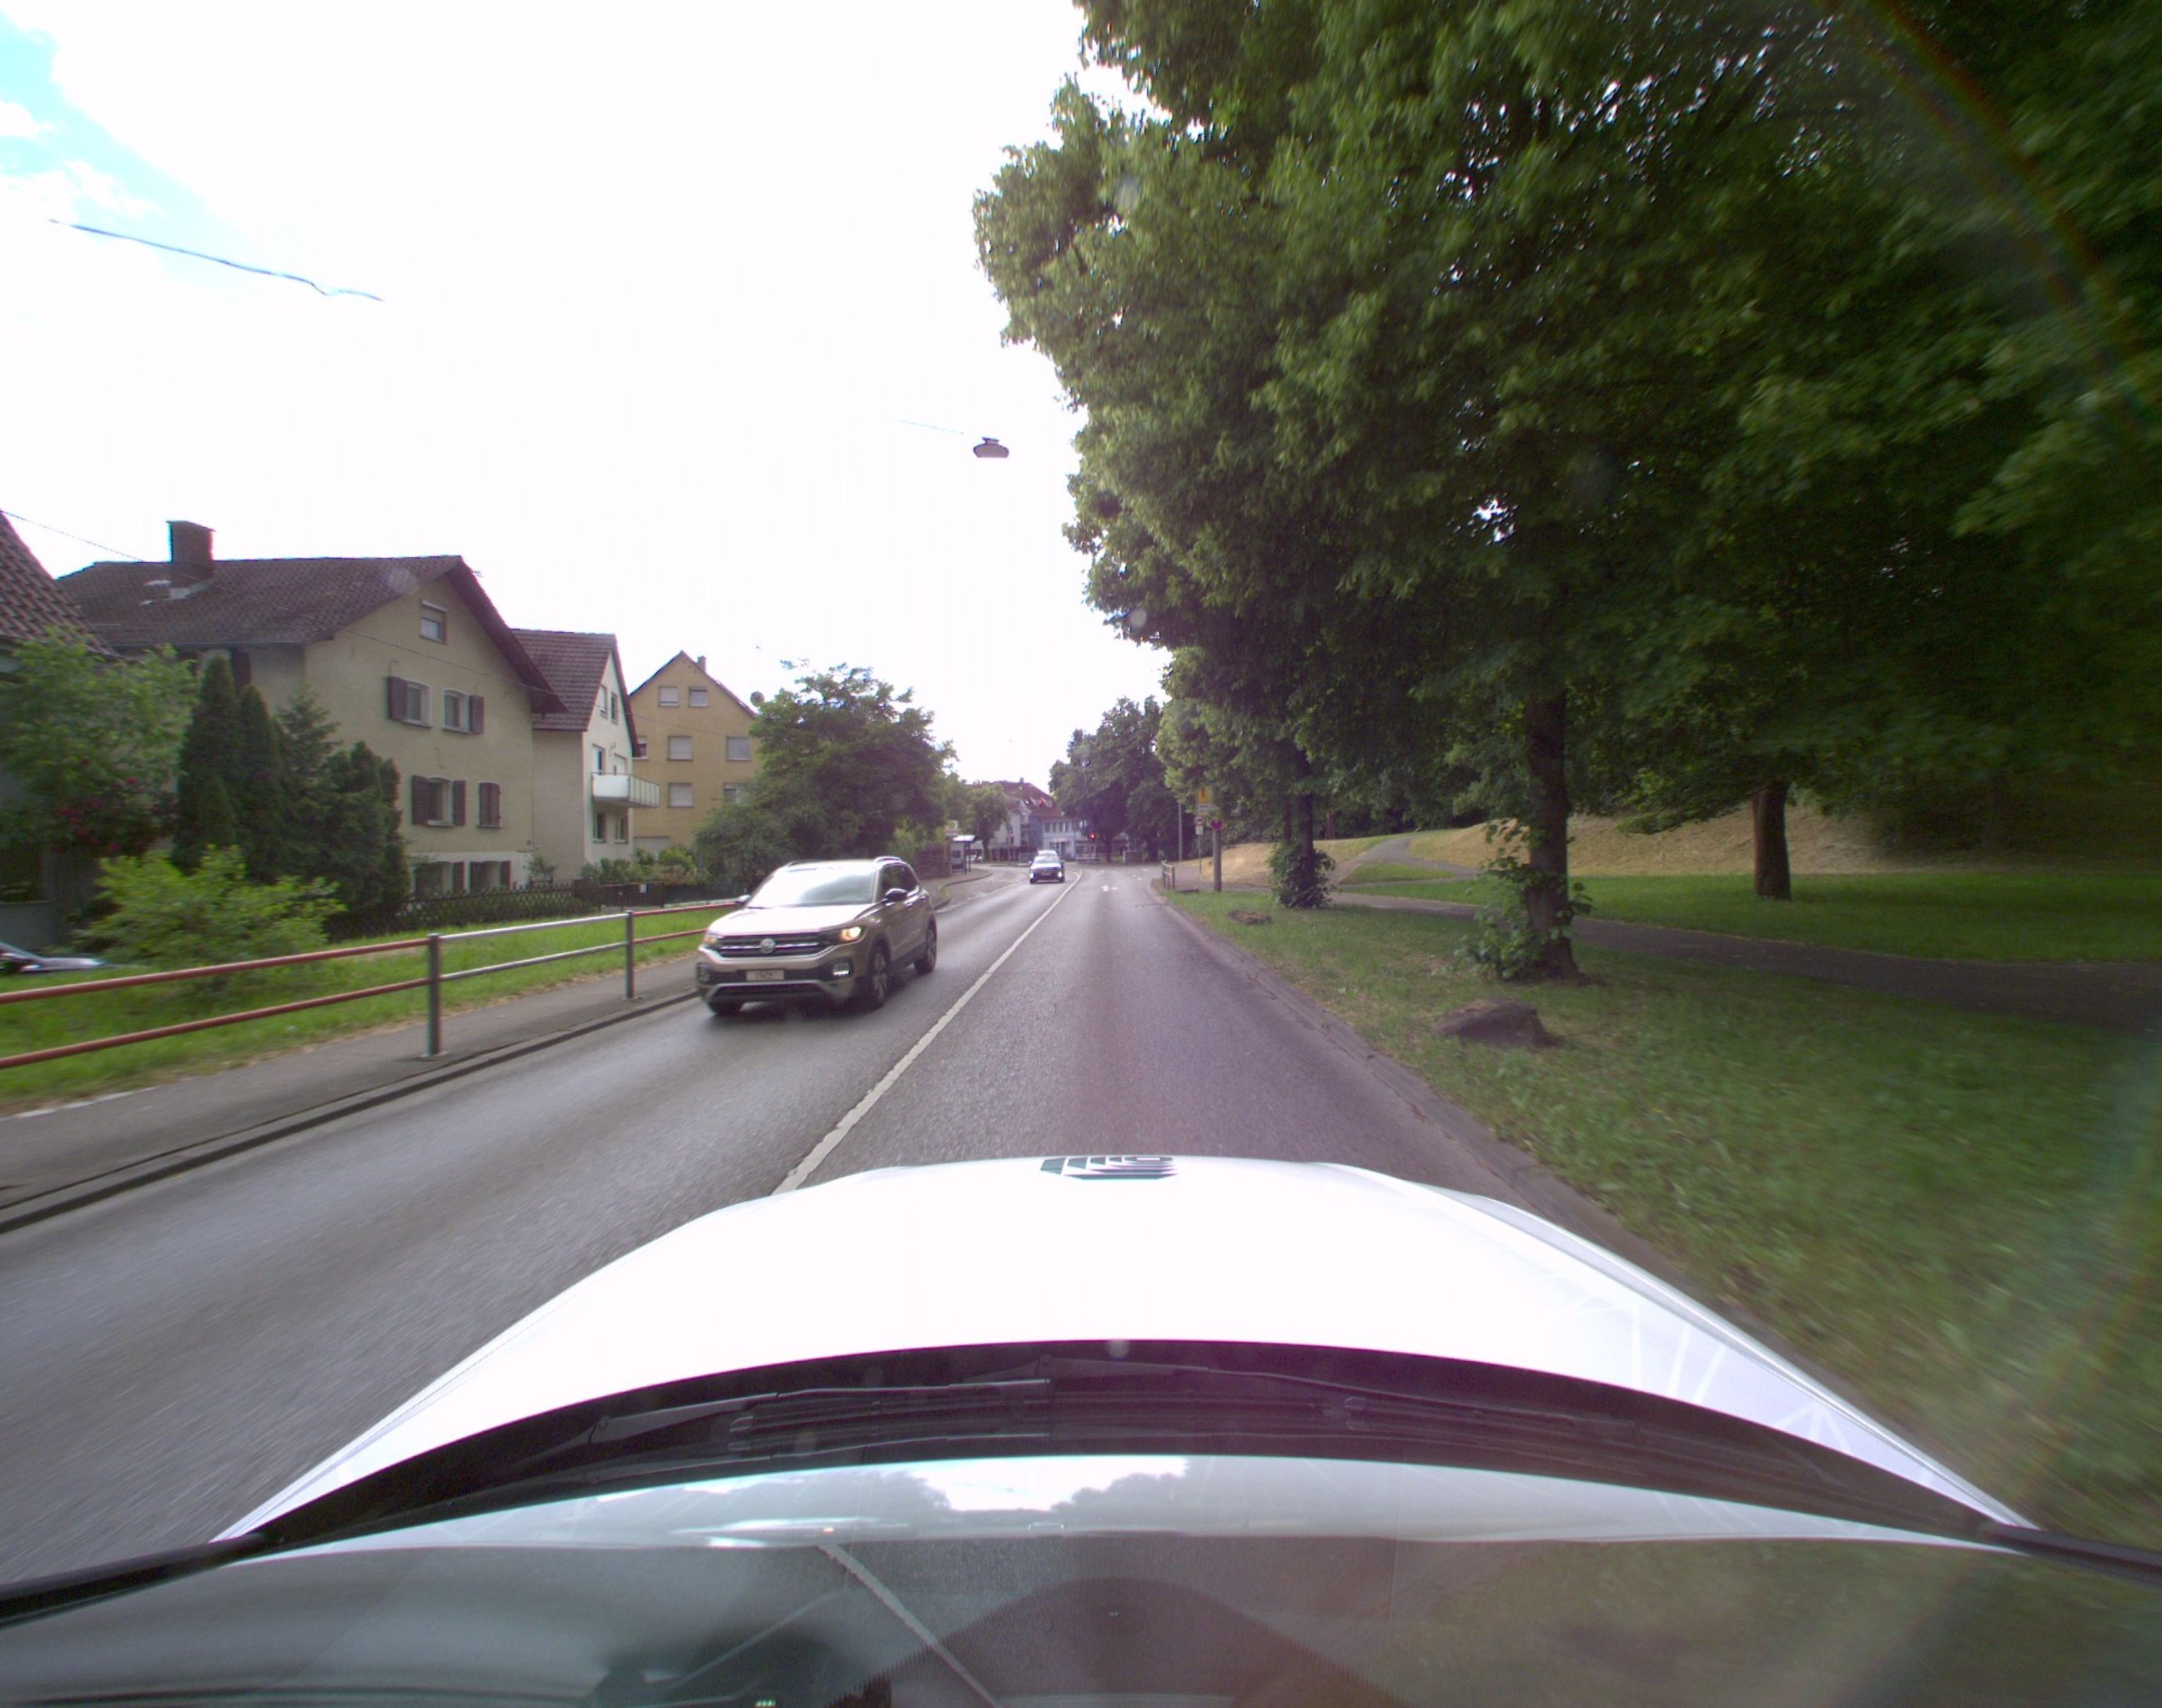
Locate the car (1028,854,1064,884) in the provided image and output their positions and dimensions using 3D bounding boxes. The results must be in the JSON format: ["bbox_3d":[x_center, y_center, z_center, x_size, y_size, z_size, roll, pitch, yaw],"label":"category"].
[{"bbox_3d":[-1.871,0.800,44.465,1.710,1.468,4.099,-2,0,0],"label":"car"}]

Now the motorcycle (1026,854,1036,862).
[{"bbox_3d":[-8.293,0.677,134.868,1.484,1.106,0.563,-3,5,14],"label":"motorcycle"}]

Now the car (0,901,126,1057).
[{"bbox_3d":[-13.229,1.476,8.348,1.910,1.695,4.008,-2,0,7],"label":"car"}]

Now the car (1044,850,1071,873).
[{"bbox_3d":[-1.866,0.568,65.297,1.928,1.724,4.692,-2,0,1],"label":"car"}]

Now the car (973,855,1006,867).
[{"bbox_3d":[-14.059,1.078,125.678,4.542,1.517,2.009,-2,0,16],"label":"car"}]

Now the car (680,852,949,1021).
[{"bbox_3d":[-2.836,0.781,9.663,1.698,1.512,4.002,-3,0,2],"label":"car"}]
